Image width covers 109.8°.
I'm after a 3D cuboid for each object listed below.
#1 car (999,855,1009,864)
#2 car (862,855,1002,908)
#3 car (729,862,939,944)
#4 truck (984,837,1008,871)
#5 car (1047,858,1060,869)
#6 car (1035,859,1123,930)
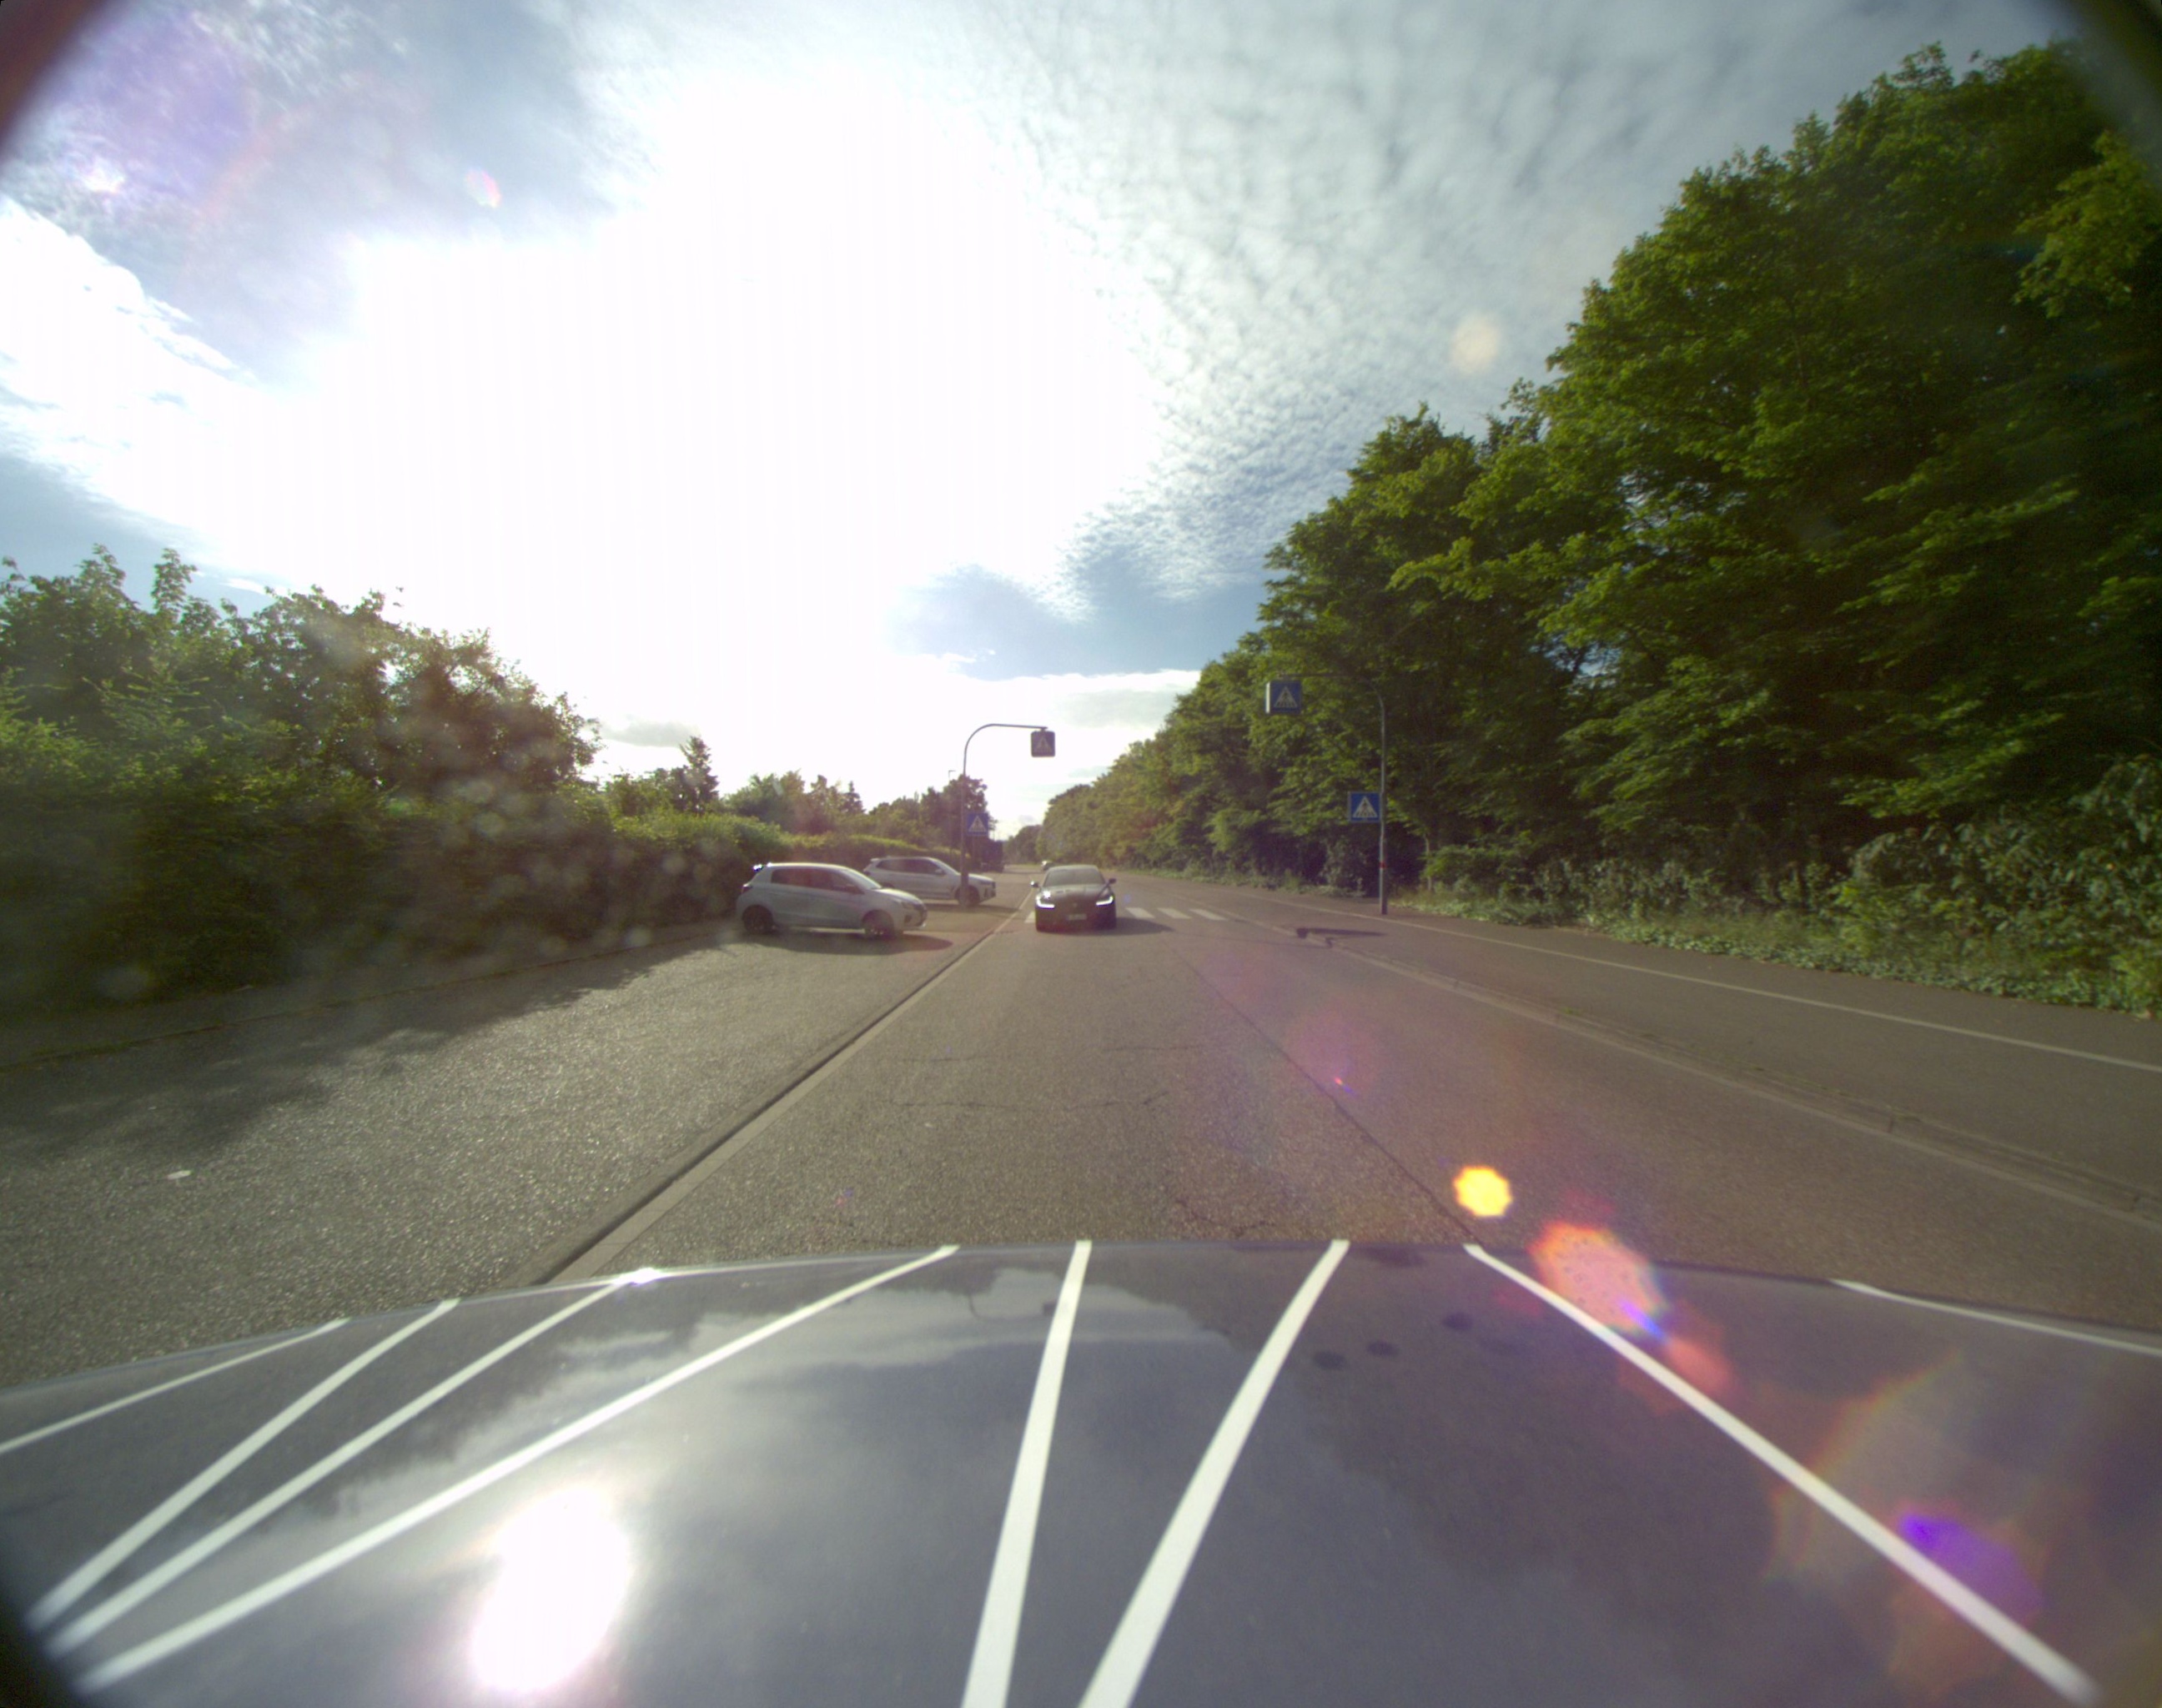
[{"bbox_3d":[-14.535,1.085,142.771,1.752,1.561,3.859,2,0,-8],"label":"car"},{"bbox_3d":[-5.203,0.946,26.946,4.599,1.689,1.763,1,1,0],"label":"car"},{"bbox_3d":[-5.147,1.010,16.195,3.867,1.481,1.692,3,-1,-1],"label":"car"},{"bbox_3d":[-10.810,0.026,96.610,2.604,3.935,6.279,3,-1,-8],"label":"truck"},{"bbox_3d":[-4.253,1.452,118.061,1.807,1.576,4.100,0,1,-4],"label":"car"},{"bbox_3d":[-0.099,0.904,19.082,1.936,1.501,4.679,-1,0,-1],"label":"car"}]
